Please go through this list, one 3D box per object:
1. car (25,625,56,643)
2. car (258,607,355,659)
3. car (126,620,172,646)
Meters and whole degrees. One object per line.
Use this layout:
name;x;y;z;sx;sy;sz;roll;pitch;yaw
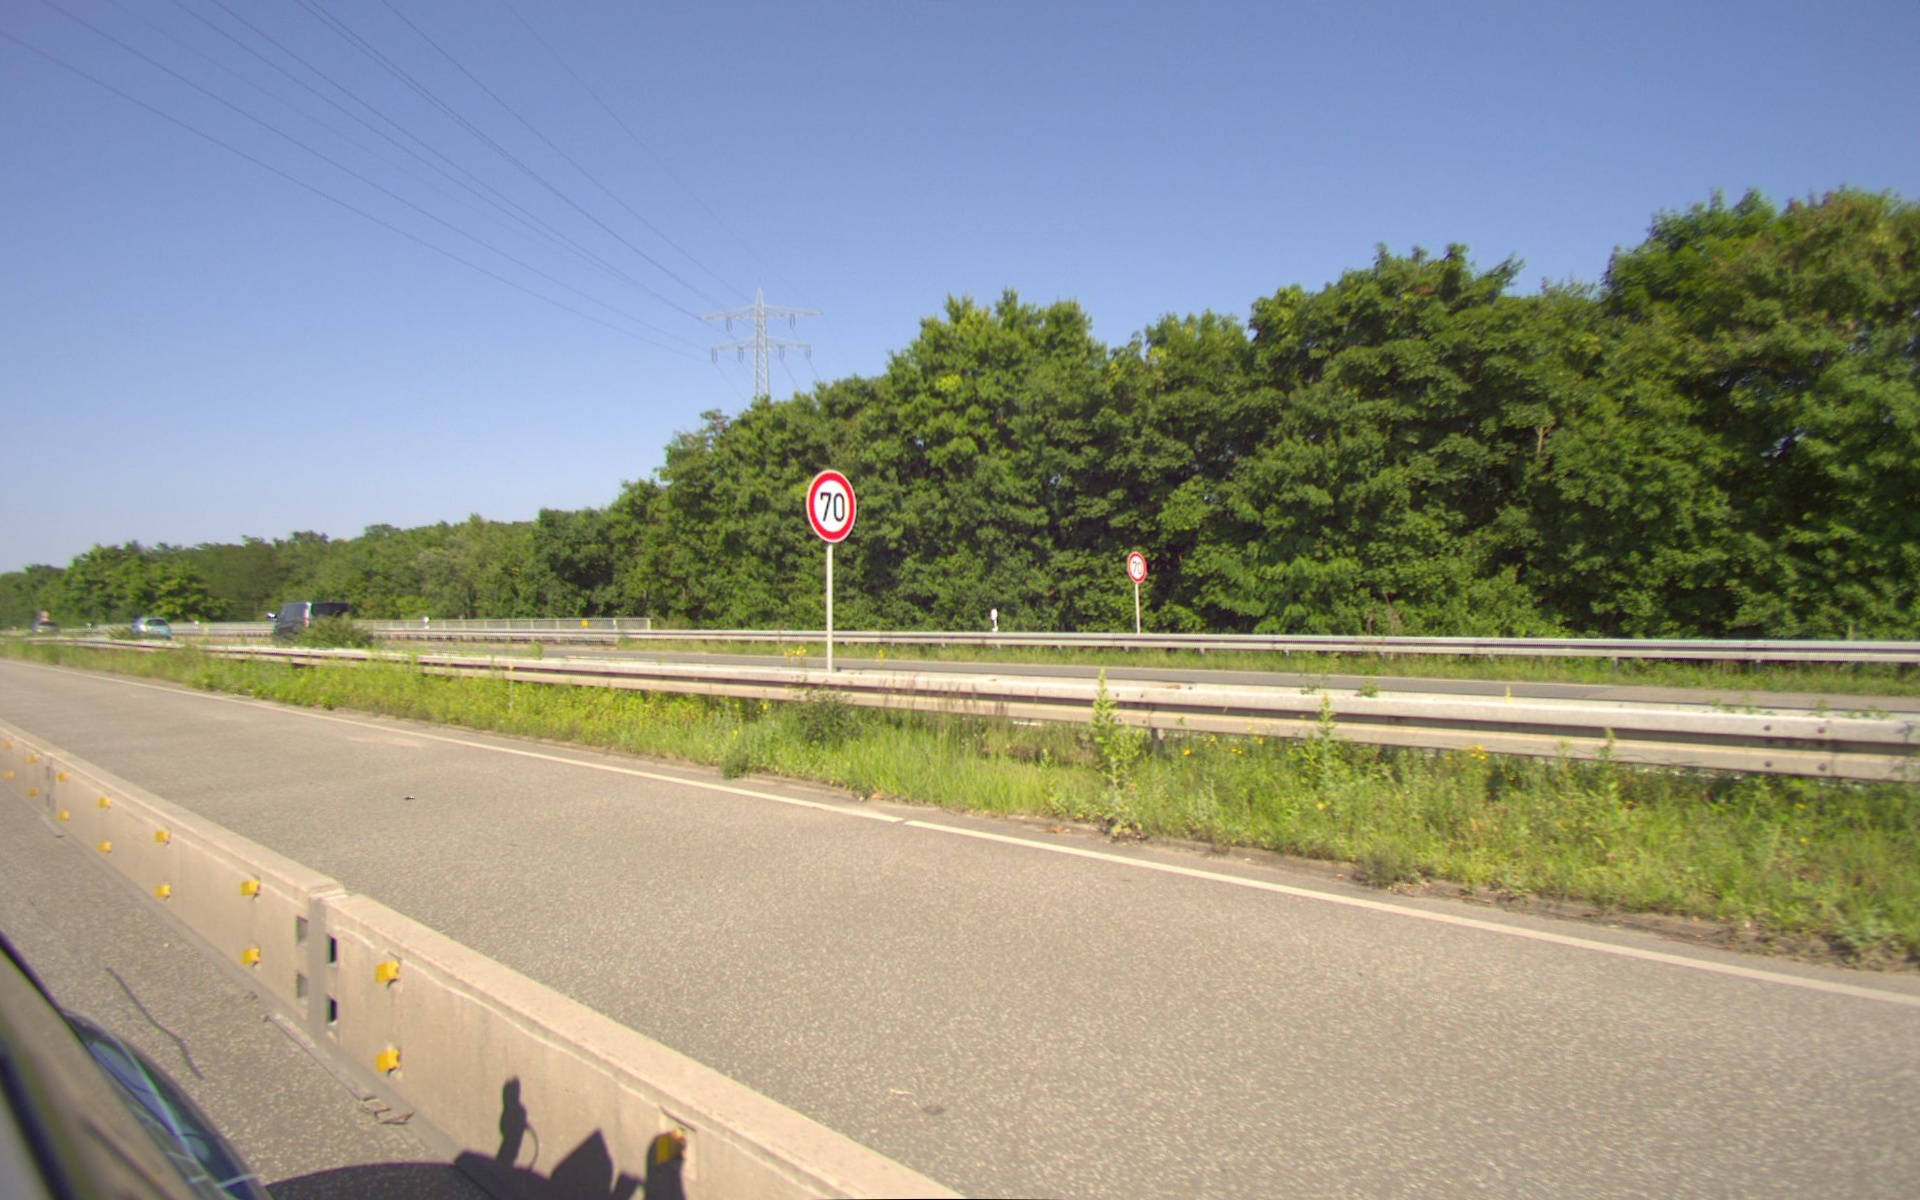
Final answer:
car;-86.773;3.161;95.480;4.420;1.595;1.745;-2;-1;42
car;-27.717;1.391;42.863;5.163;2.050;1.974;-2;-2;39
car;-51.927;2.117;64.791;3.816;1.542;1.630;-2;-1;41
